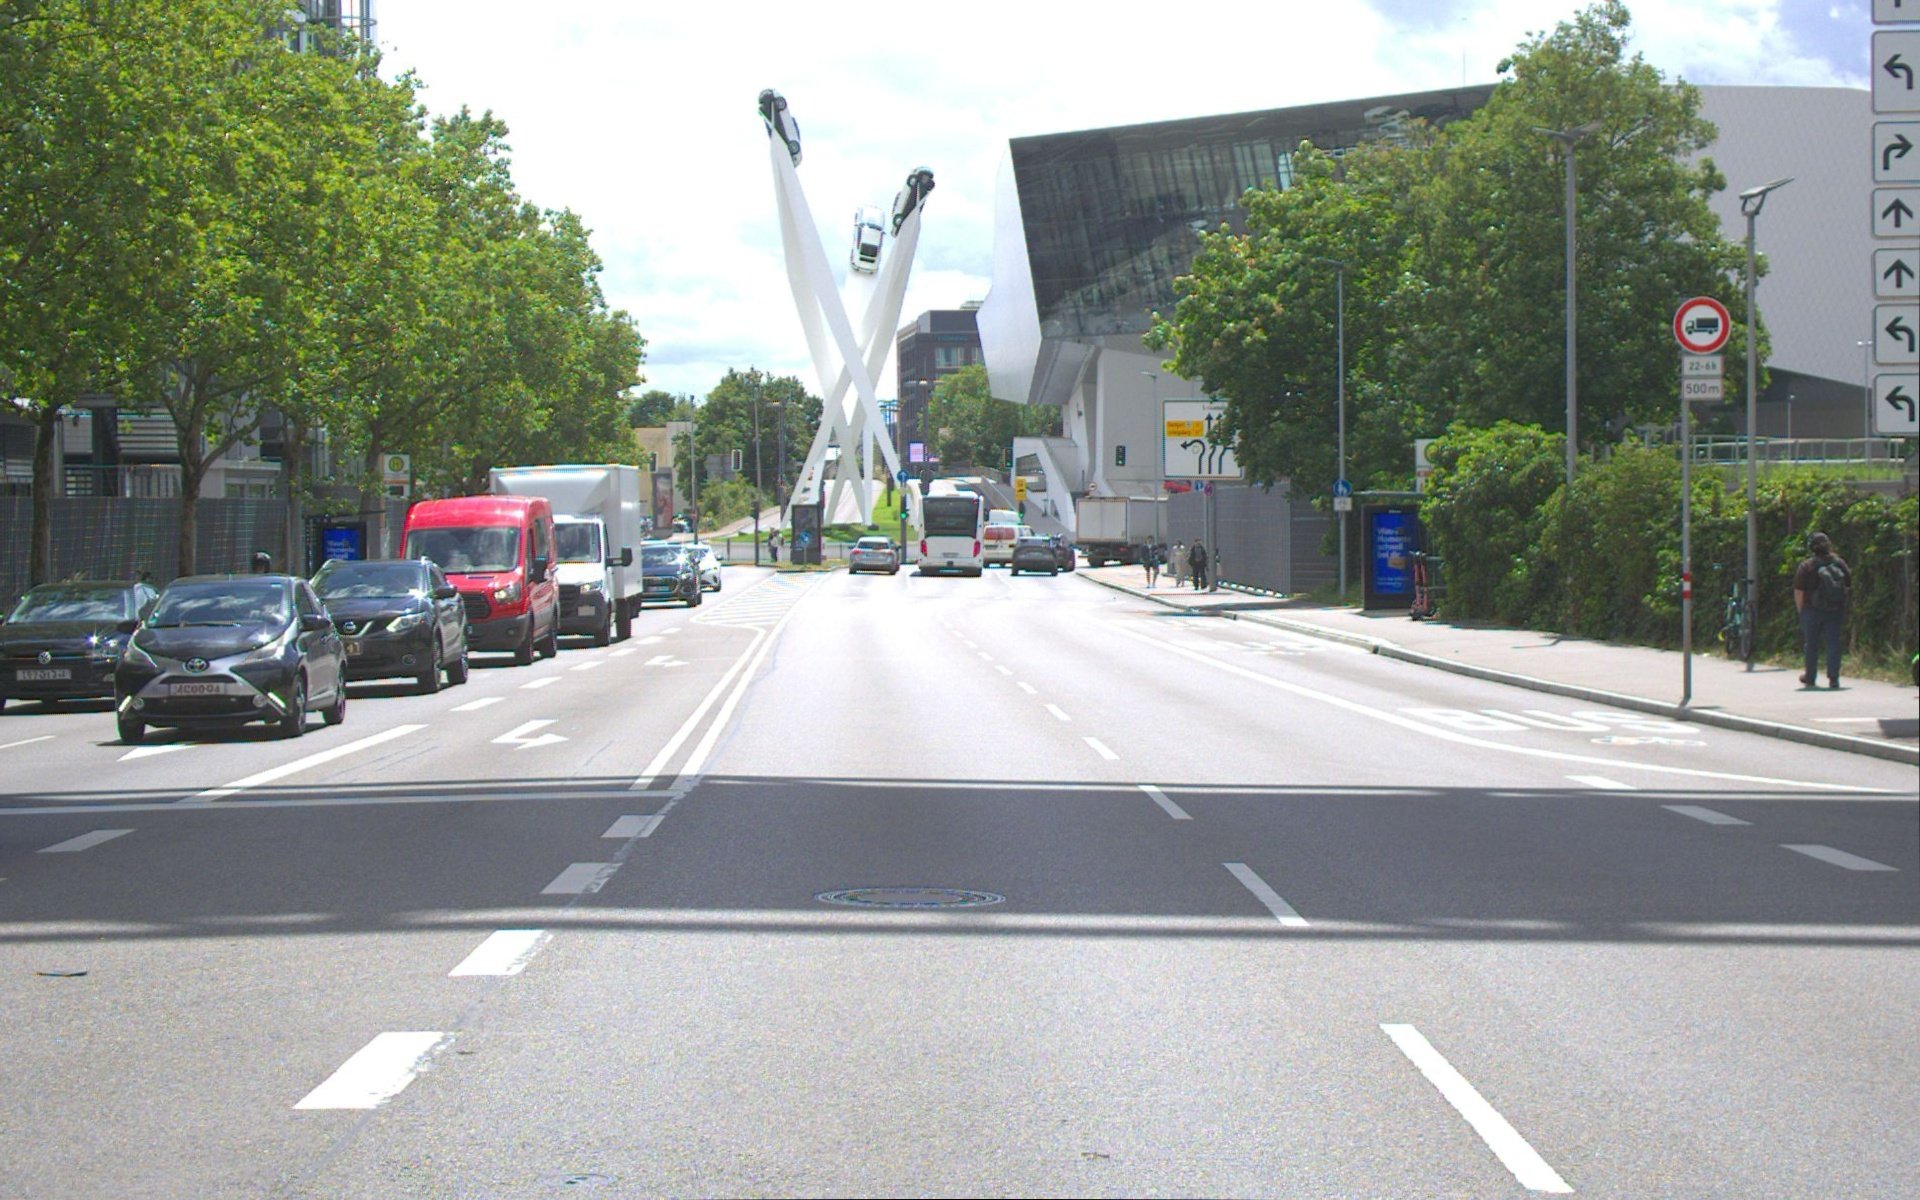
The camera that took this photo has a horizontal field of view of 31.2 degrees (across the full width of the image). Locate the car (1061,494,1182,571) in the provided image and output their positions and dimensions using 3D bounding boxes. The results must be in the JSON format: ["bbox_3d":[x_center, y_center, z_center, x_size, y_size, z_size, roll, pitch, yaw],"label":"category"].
[{"bbox_3d":[7.746,-3.182,163.198,3.338,3.492,9.333,1,1,18],"label":"car"}]

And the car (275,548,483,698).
[{"bbox_3d":[-6.856,0.238,40.924,1.736,1.678,4.214,1,1,0],"label":"car"}]

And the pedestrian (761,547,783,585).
[{"bbox_3d":[-8.827,-1.617,161.389,0.863,1.767,1.036,1,0,-14],"label":"pedestrian"}]

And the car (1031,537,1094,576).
[{"bbox_3d":[4.430,-1.862,147.576,1.994,1.631,3.998,1,1,12],"label":"car"}]

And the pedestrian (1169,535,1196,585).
[{"bbox_3d":[7.184,-1.299,110.987,0.794,1.591,0.732,1,0,-1],"label":"pedestrian"}]

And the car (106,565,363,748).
[{"bbox_3d":[-6.563,0.468,31.408,1.558,1.500,3.613,-2,1,-1],"label":"car"}]

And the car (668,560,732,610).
[{"bbox_3d":[-8.085,-0.483,107.029,1.691,1.410,4.146,-2,1,-1],"label":"car"}]

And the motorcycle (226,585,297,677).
[{"bbox_3d":[-9.656,0.418,47.587,0.674,1.215,2.377,1,1,-5],"label":"motorcycle"}]

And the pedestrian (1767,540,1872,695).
[{"bbox_3d":[9.346,0.179,37.408,0.809,1.639,0.998,-2,1,-3],"label":"pedestrian"}]

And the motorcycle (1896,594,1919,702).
[{"bbox_3d":[9.882,0.485,34.091,0.590,1.063,2.037,-2,1,-1],"label":"motorcycle"}]

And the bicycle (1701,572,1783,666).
[{"bbox_3d":[10.147,0.228,44.682,0.443,1.176,2.469,1,1,-1],"label":"bicycle"}]

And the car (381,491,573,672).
[{"bbox_3d":[-7.133,-0.314,51.272,2.063,2.498,5.480,-2,1,-1],"label":"car"}]

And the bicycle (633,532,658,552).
[{"bbox_3d":[-21.279,-3.913,232.424,1.605,1.312,0.493,1,0,-1],"label":"bicycle"}]

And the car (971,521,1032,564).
[{"bbox_3d":[1.925,-2.620,157.622,1.994,1.926,4.238,1,1,12],"label":"car"}]

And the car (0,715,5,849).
[{"bbox_3d":[-6.106,0.680,16.746,1.884,1.449,3.903,-2,1,-2],"label":"car"}]

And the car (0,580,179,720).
[{"bbox_3d":[-10.059,0.537,38.932,1.576,1.423,3.920,-2,1,-1],"label":"car"}]

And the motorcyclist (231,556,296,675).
[{"bbox_3d":[-9.625,0.213,47.522,0.733,1.617,1.095,1,0,-4],"label":"motorcyclist"}]

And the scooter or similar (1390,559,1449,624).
[{"bbox_3d":[8.688,-0.164,64.915,0.542,1.159,1.790,-1,1,26],"label":"scooter or similar"}]

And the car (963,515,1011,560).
[{"bbox_3d":[1.363,-3.107,171.182,1.994,2.163,4.655,1,1,5],"label":"car"}]

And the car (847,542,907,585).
[{"bbox_3d":[-3.265,-1.436,135.758,1.994,1.631,3.999,1,1,4],"label":"car"}]

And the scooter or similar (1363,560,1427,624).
[{"bbox_3d":[8.325,-0.166,65.739,0.542,1.159,2.125,-1,1,26],"label":"scooter or similar"}]

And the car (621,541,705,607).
[{"bbox_3d":[-7.549,-0.688,87.675,1.740,1.575,4.267,-2,1,0],"label":"car"}]

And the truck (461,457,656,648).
[{"bbox_3d":[-6.950,-0.816,60.444,2.452,3.118,7.243,1,1,1],"label":"truck"}]

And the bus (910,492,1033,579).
[{"bbox_3d":[0.579,-2.570,139.724,3.073,3.350,12.218,1,1,9],"label":"bus"}]

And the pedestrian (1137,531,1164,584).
[{"bbox_3d":[6.134,-1.371,110.990,0.794,1.715,0.732,1,0,-1],"label":"pedestrian"}]

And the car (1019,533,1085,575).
[{"bbox_3d":[3.756,-1.868,139.627,1.994,1.631,3.998,1,2,12],"label":"car"}]
